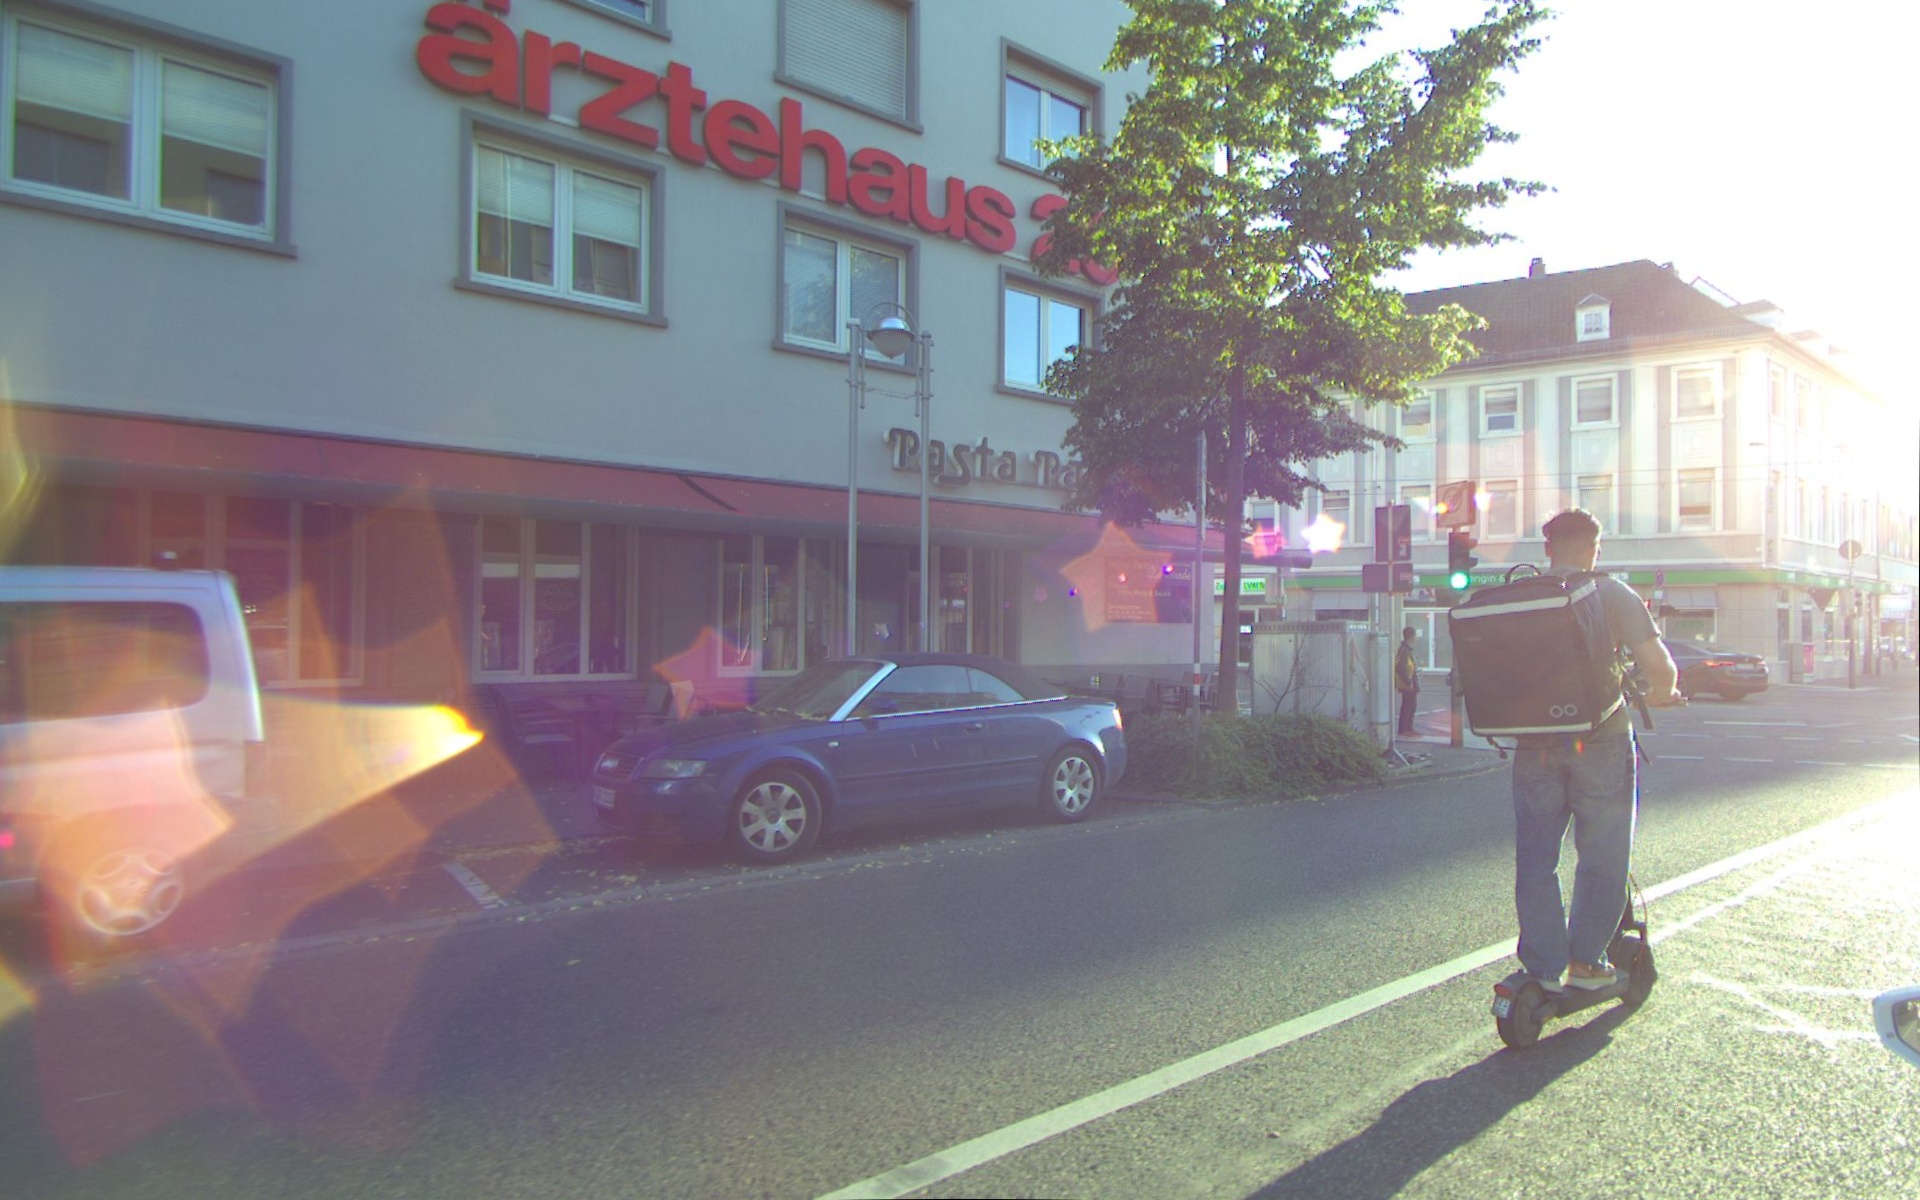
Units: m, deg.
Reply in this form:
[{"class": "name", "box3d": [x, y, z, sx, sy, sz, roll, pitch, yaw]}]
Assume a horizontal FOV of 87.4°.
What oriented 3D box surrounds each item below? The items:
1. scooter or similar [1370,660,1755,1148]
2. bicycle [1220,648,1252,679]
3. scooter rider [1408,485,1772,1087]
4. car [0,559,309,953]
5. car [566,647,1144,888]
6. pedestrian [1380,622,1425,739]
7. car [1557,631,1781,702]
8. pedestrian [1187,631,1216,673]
[{"class": "scooter or similar", "box3d": [2.208, 0.919, 3.602, 1.652, 1.368, 0.541, 1, -1, -34]}, {"class": "bicycle", "box3d": [10.336, 2.354, 37.580, 0.490, 1.073, 1.736, 0, -1, 38]}, {"class": "scooter rider", "box3d": [2.241, 0.573, 3.608, 0.780, 1.831, 0.806, 2, 0, -33]}, {"class": "car", "box3d": [-5.316, 0.619, 4.367, 3.968, 1.686, 1.700, 3, -1, -40]}, {"class": "car", "box3d": [-0.636, 1.074, 7.843, 4.272, 1.371, 1.637, 2, -2, -37]}, {"class": "pedestrian", "box3d": [6.585, 1.176, 14.941, 0.576, 1.678, 0.799, 0, -1, 26]}, {"class": "car", "box3d": [17.469, 1.595, 25.076, 1.863, 1.499, 4.533, 2, -1, -11]}, {"class": "pedestrian", "box3d": [9.741, 2.073, 40.527, 0.822, 1.662, 0.803, 0, -1, -44]}]
